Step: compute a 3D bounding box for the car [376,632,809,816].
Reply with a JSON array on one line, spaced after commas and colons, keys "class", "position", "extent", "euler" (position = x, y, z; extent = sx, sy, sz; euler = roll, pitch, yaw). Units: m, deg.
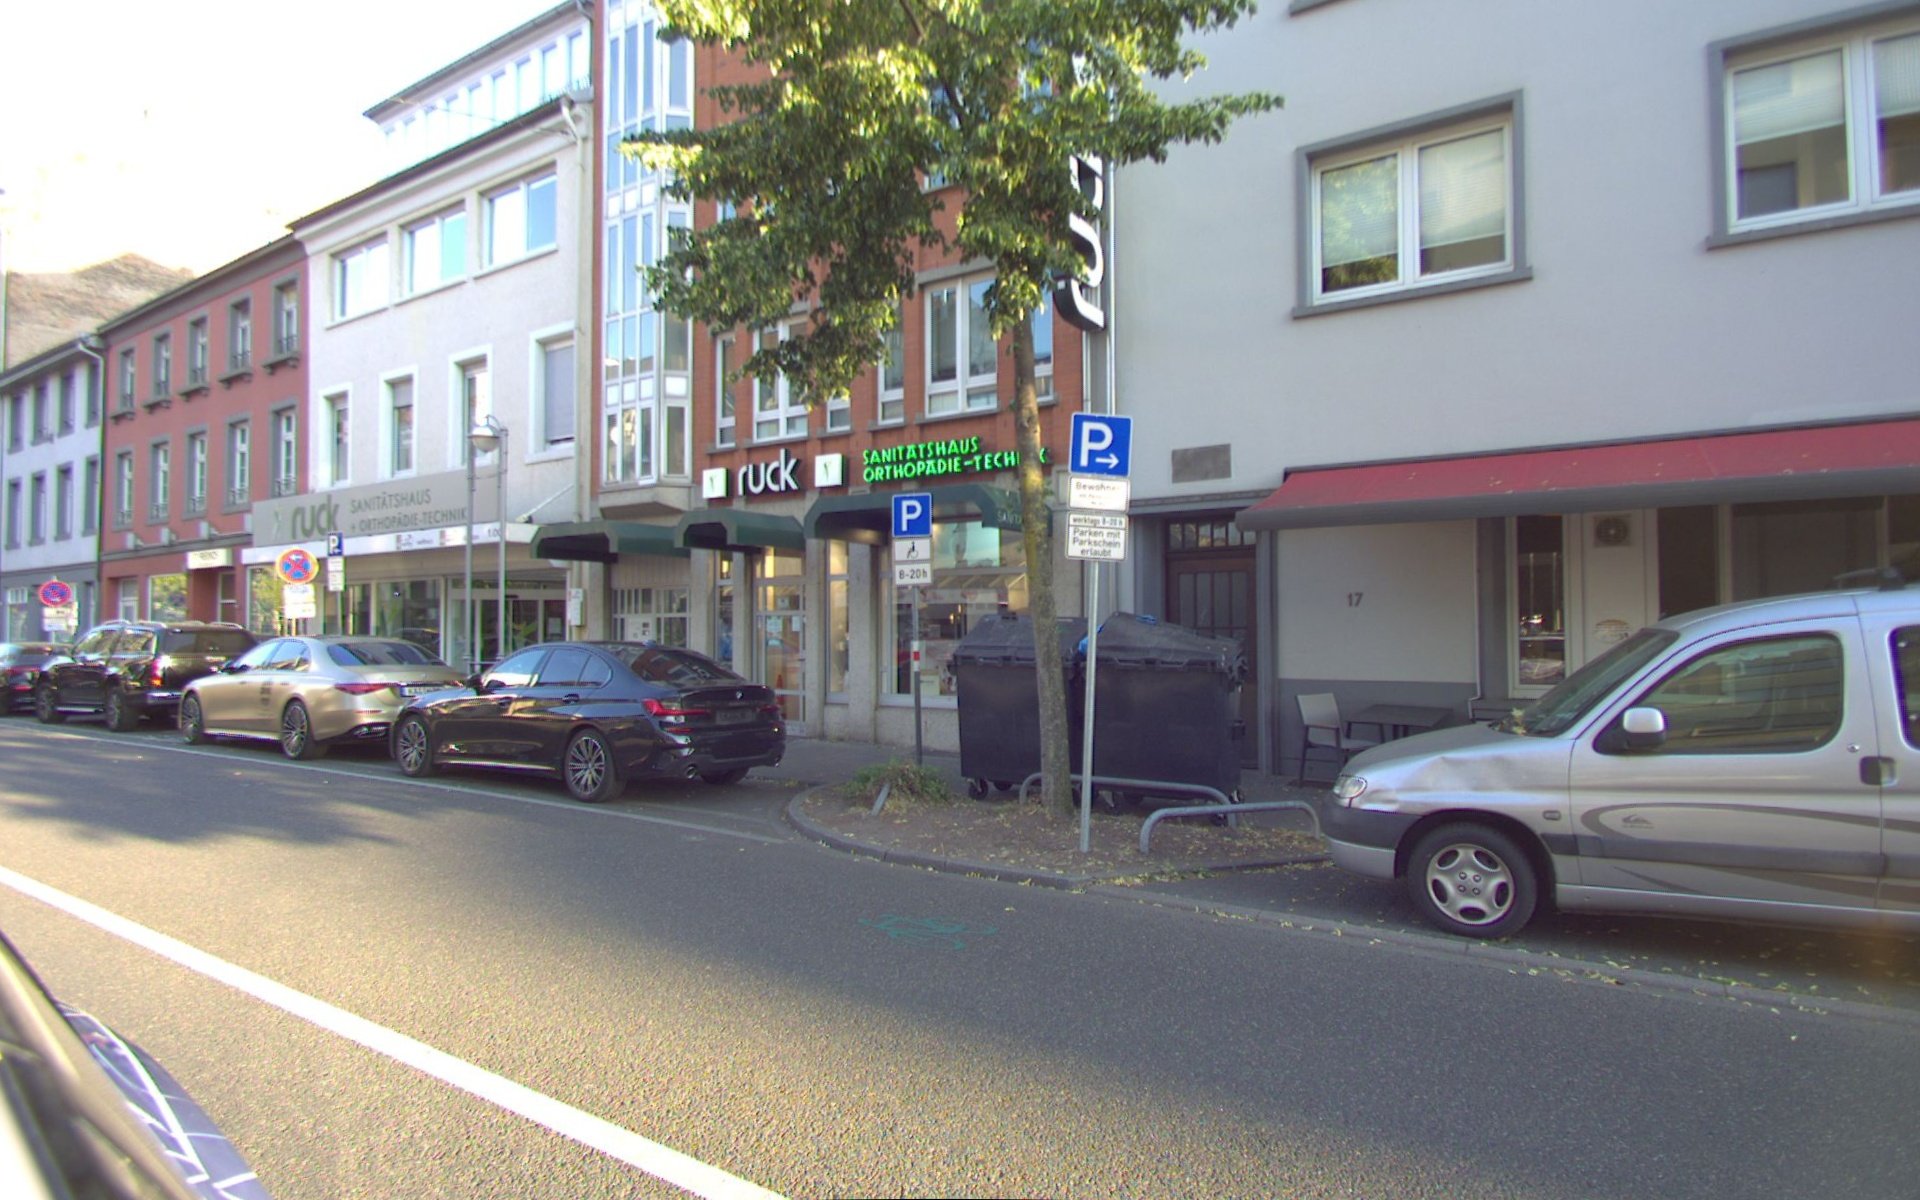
[{"class": "car", "position": [-3.799, 1.116, 10.181], "extent": [4.528, 1.484, 1.706], "euler": [-2, -5, 33]}]

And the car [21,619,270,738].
[{"class": "car", "position": [-14.019, 1.298, 17.336], "extent": [4.921, 1.793, 1.708], "euler": [-2, -4, 31]}]

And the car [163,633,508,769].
[{"class": "car", "position": [-8.375, 1.235, 13.409], "extent": [5.094, 1.484, 1.977], "euler": [-2, -4, 34]}]

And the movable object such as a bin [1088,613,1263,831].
[{"class": "movable object such as a bin", "position": [1.769, 0.939, 8.289], "extent": [1.203, 1.632, 0.775], "euler": [-1, 0, 30]}]

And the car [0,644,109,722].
[{"class": "car", "position": [-19.230, 1.655, 20.635], "extent": [4.001, 1.448, 1.688], "euler": [-2, -5, 32]}]

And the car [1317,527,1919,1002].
[{"class": "car", "position": [4.006, 0.707, 4.957], "extent": [4.038, 1.902, 1.657], "euler": [-1, -4, 31]}]

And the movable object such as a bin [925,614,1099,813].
[{"class": "movable object such as a bin", "position": [0.463, 0.958, 9.031], "extent": [1.331, 1.632, 0.775], "euler": [-1, -1, 30]}]
